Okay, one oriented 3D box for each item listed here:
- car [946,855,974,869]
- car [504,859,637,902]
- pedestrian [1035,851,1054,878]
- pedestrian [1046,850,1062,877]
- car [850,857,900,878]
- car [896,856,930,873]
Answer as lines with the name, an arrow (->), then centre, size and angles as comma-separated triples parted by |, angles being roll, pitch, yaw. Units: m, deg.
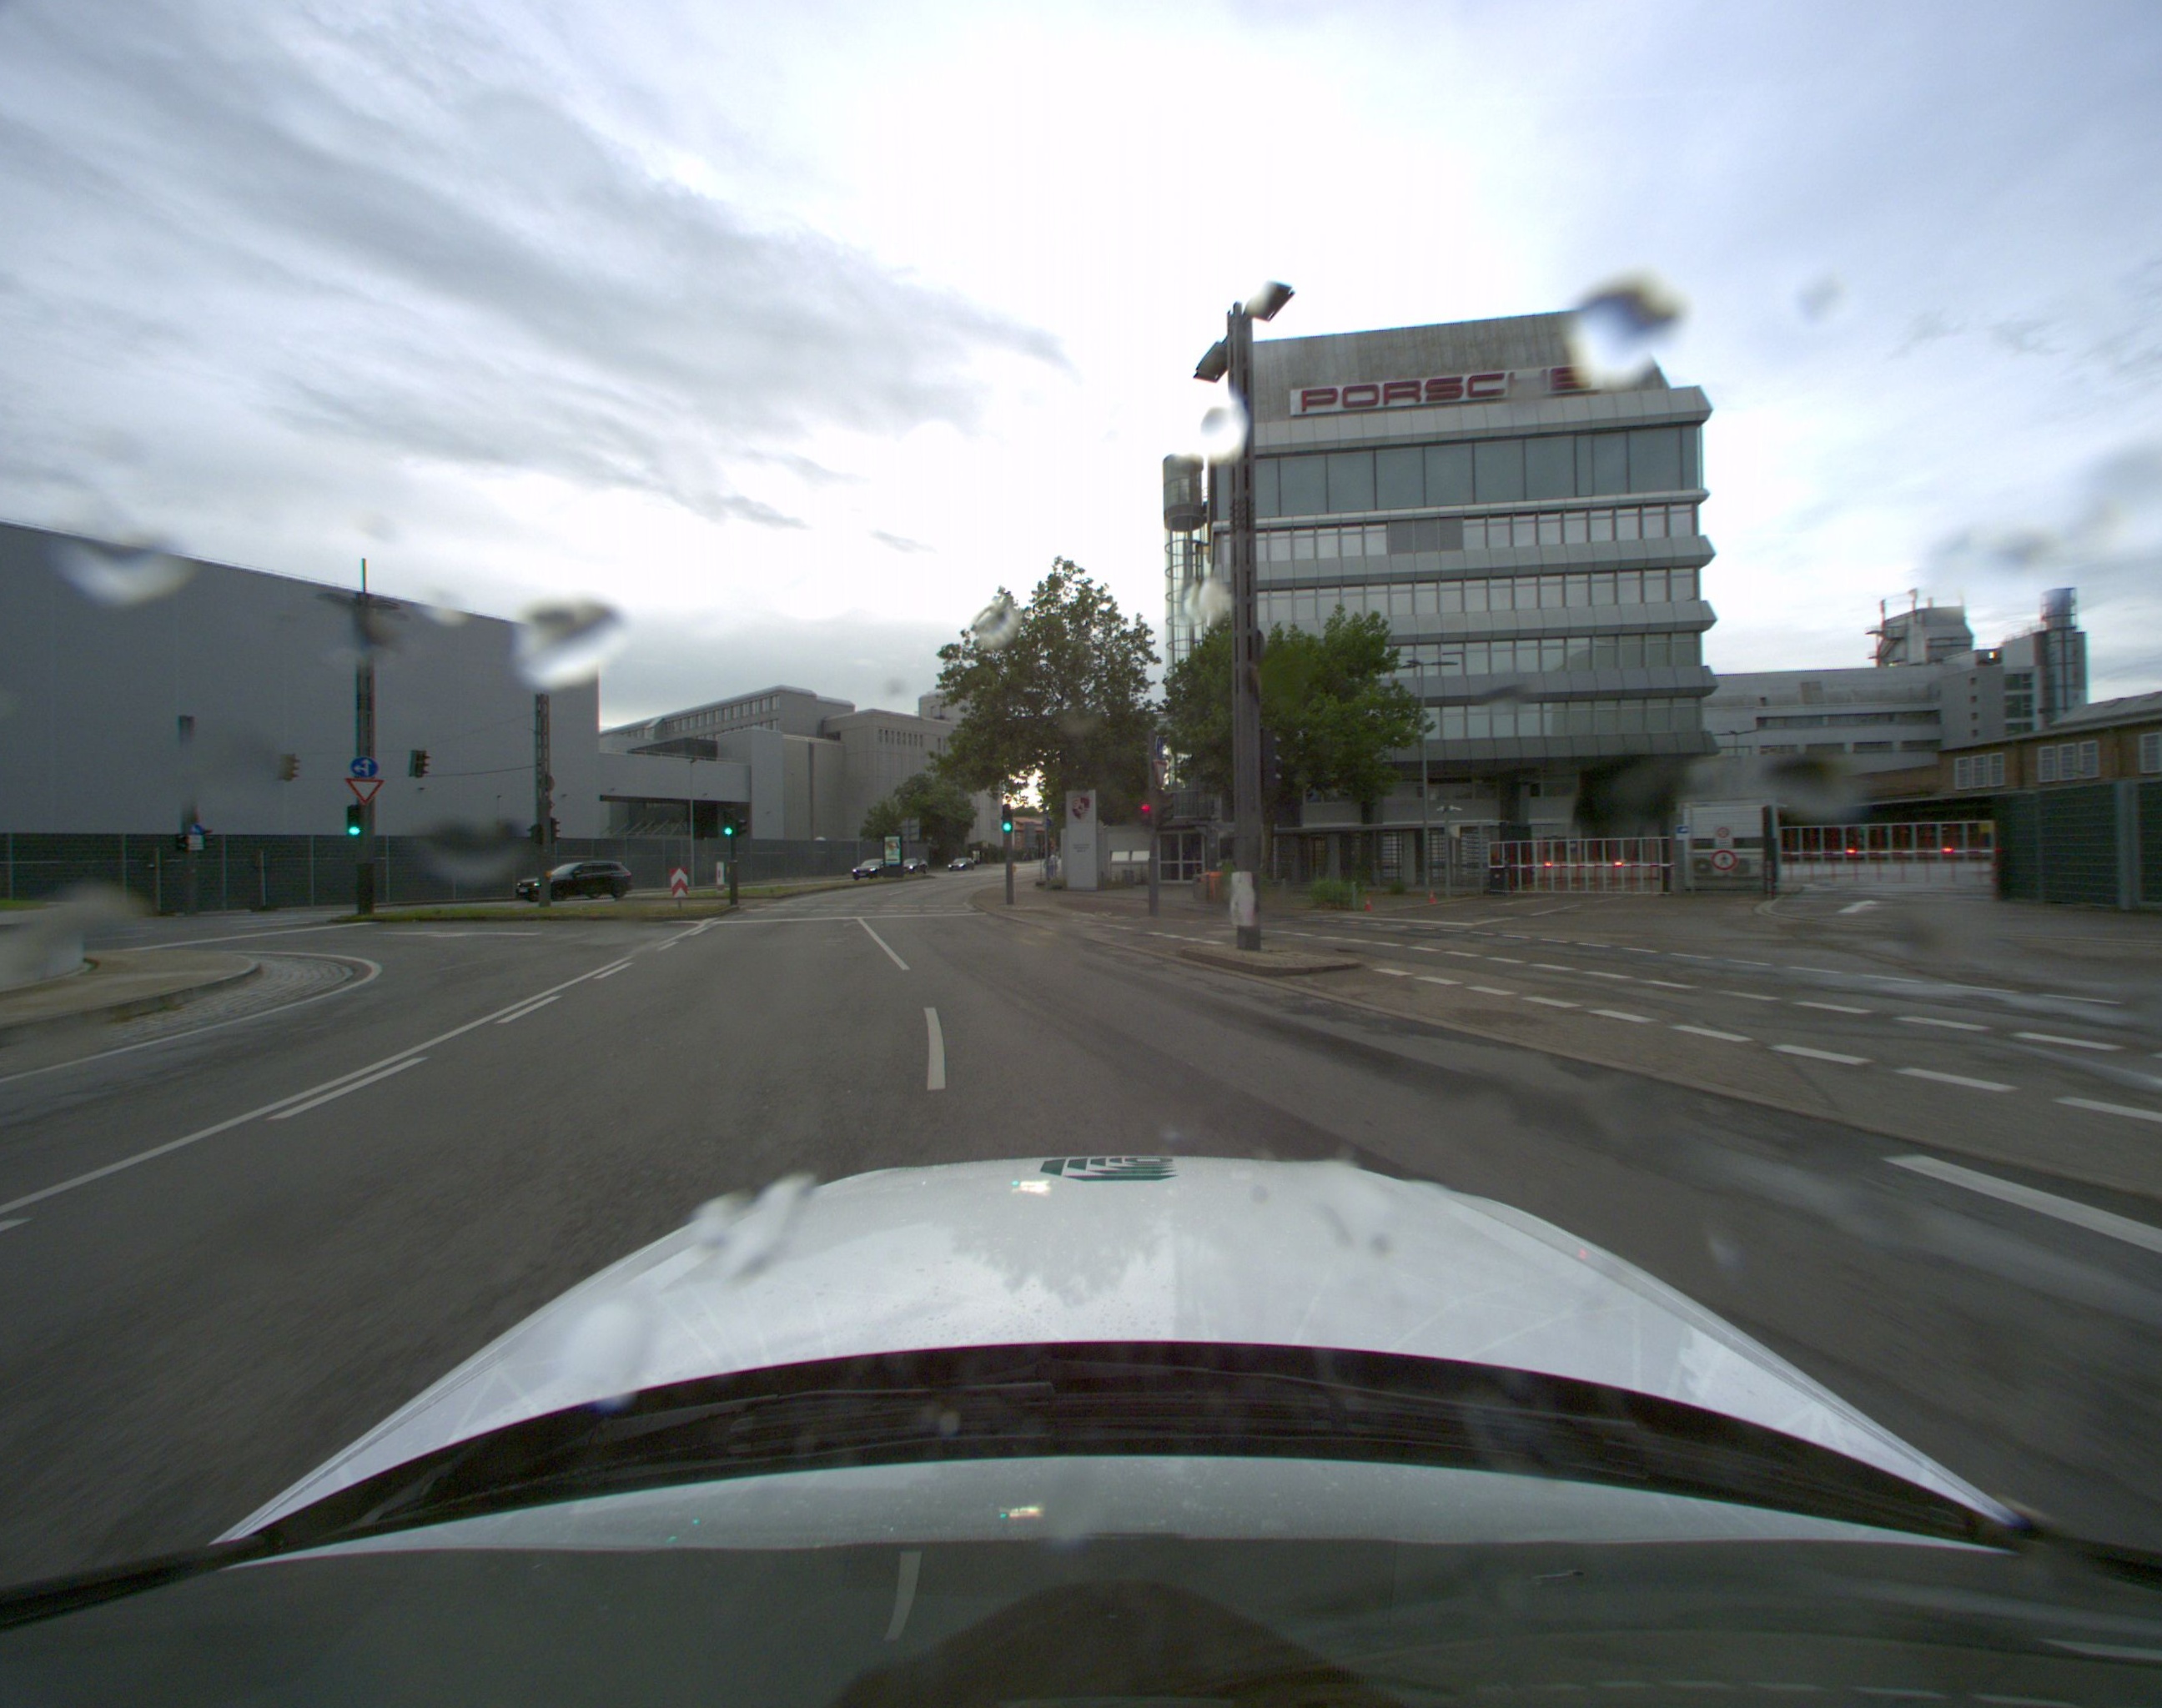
car -> -13.319, 0.902, 90.152 | 1.773, 1.385, 4.556 | -3, 0, 8
car -> -21.567, 1.080, 34.657 | 1.767, 1.588, 4.591 | -1, 0, 22
pedestrian -> -2.049, 0.587, 46.179 | 0.825, 1.520, 0.845 | -1, 0, 13
pedestrian -> -1.591, 0.565, 48.420 | 0.704, 1.592, 0.843 | -1, 0, 12
car -> -15.007, 0.964, 59.491 | 1.771, 1.440, 4.409 | -1, 0, 11
car -> -15.865, 1.001, 77.133 | 1.773, 1.454, 4.569 | -3, 0, 6
